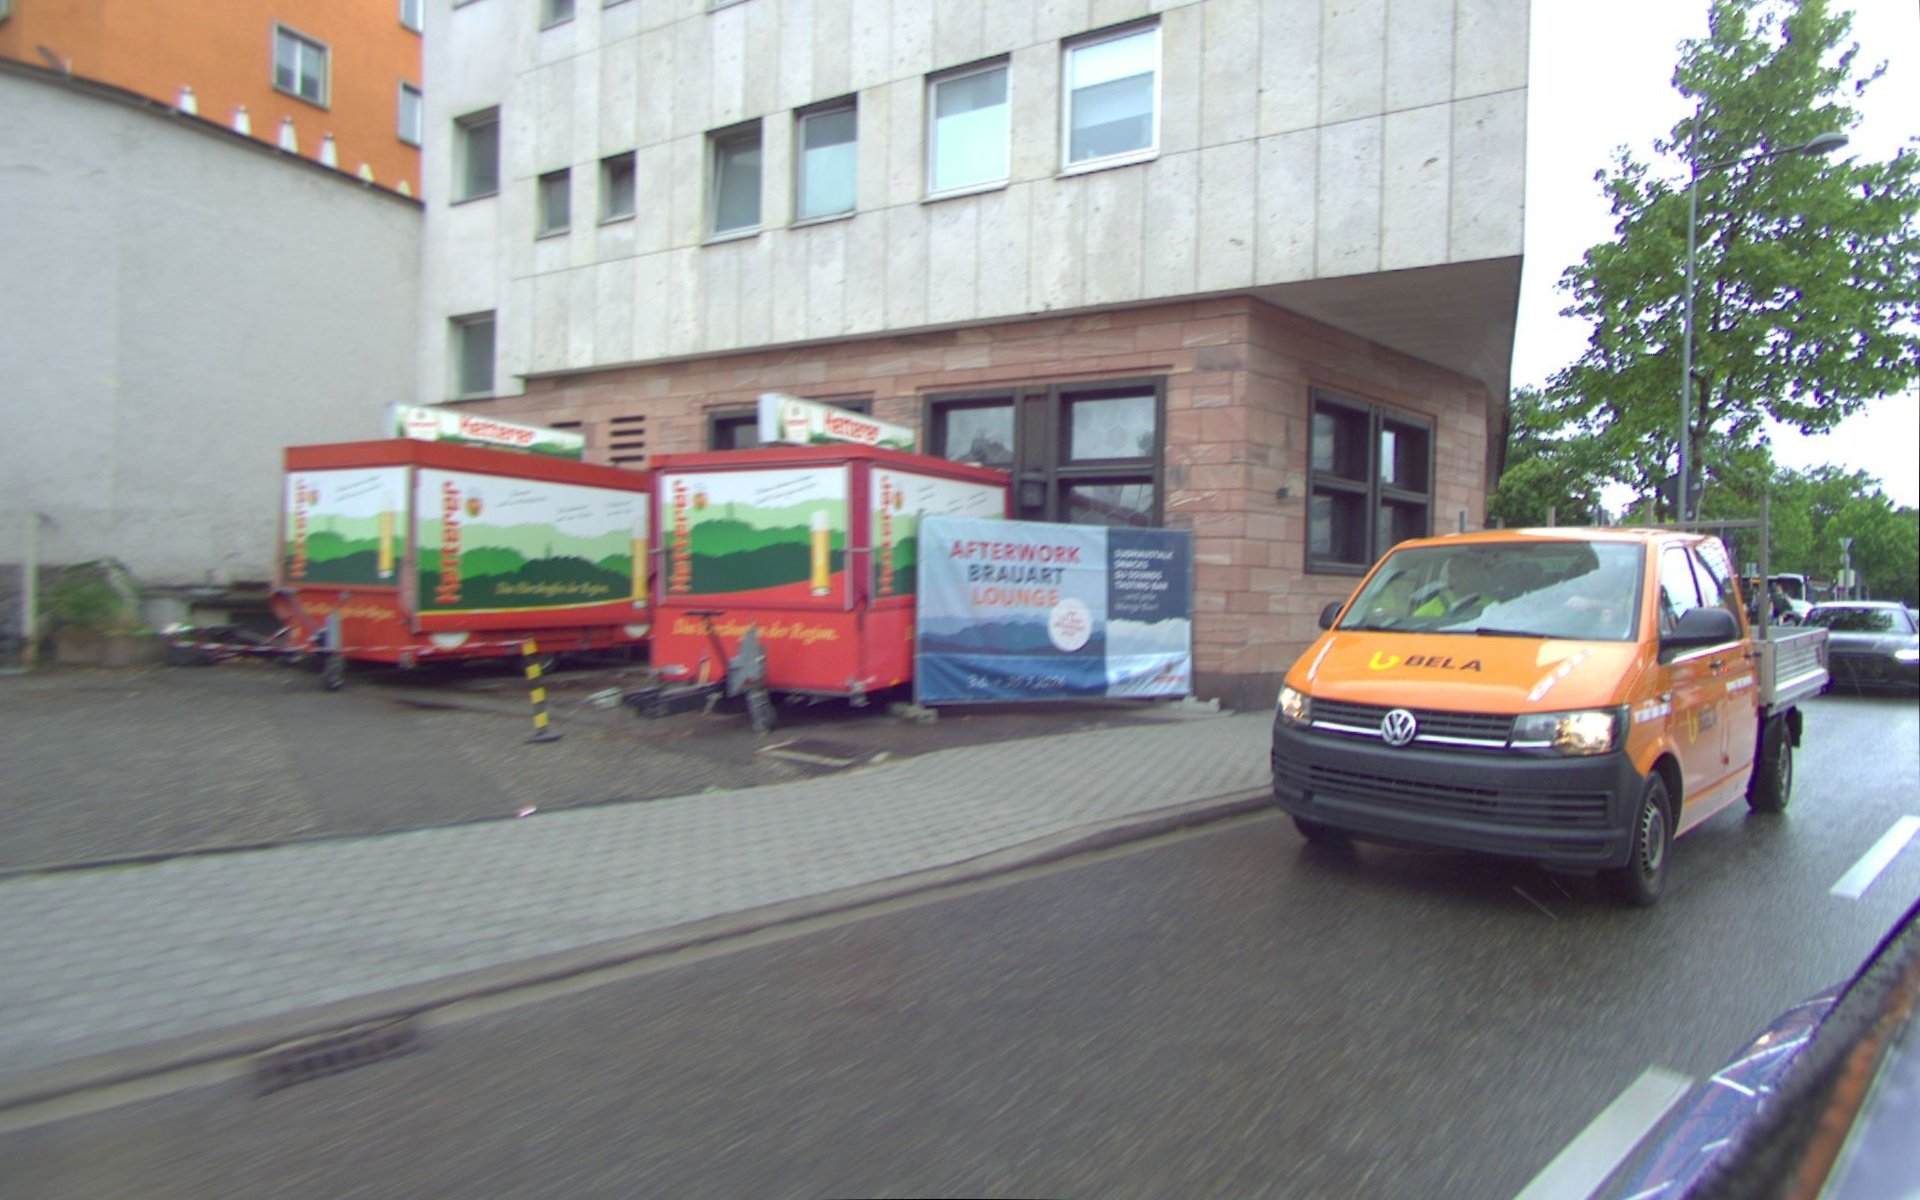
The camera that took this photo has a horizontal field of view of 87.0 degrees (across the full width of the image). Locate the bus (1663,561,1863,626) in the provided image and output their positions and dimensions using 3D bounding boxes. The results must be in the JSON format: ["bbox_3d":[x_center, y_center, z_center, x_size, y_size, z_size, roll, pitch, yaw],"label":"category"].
[{"bbox_3d":[46.880,-0.510,59.647,2.649,3.255,9.680,3,2,-11],"label":"bus"}]

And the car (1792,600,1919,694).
[{"bbox_3d":[15.564,0.716,17.413,1.889,1.422,4.299,0,0,39],"label":"car"}]

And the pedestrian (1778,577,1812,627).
[{"bbox_3d":[32.437,0.073,39.327,0.738,1.852,0.686,6,3,31],"label":"pedestrian"}]

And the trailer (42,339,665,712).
[{"bbox_3d":[-6.818,-0.740,12.397,2.725,3.348,6.014,2,1,28],"label":"trailer"}]

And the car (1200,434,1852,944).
[{"bbox_3d":[4.123,0.374,6.802,5.444,2.115,2.105,1,0,-41],"label":"car"}]

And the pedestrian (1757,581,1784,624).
[{"bbox_3d":[31.882,0.086,39.812,0.598,1.618,0.698,6,4,33],"label":"pedestrian"}]

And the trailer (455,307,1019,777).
[{"bbox_3d":[-1.665,-0.519,10.086,2.608,3.215,5.672,3,2,24],"label":"trailer"}]

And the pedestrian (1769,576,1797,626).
[{"bbox_3d":[34.851,0.025,42.852,0.583,2.038,0.781,5,2,25],"label":"pedestrian"}]

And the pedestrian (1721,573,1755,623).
[{"bbox_3d":[28.290,-0.084,36.795,0.566,1.706,0.957,6,4,21],"label":"pedestrian"}]

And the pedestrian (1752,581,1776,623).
[{"bbox_3d":[34.292,0.076,43.156,0.552,1.726,0.524,5,2,23],"label":"pedestrian"}]

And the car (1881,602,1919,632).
[{"bbox_3d":[80.514,1.490,85.267,4.907,2.348,1.978,3,1,-16],"label":"car"}]

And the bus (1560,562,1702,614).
[{"bbox_3d":[45.192,-0.936,68.599,2.632,3.219,8.578,2,2,-11],"label":"bus"}]

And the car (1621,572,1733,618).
[{"bbox_3d":[40.336,-0.357,57.181,2.217,2.261,6.334,3,2,6],"label":"car"}]

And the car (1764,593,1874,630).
[{"bbox_3d":[39.031,0.489,46.125,1.765,1.390,4.091,3,2,6],"label":"car"}]
